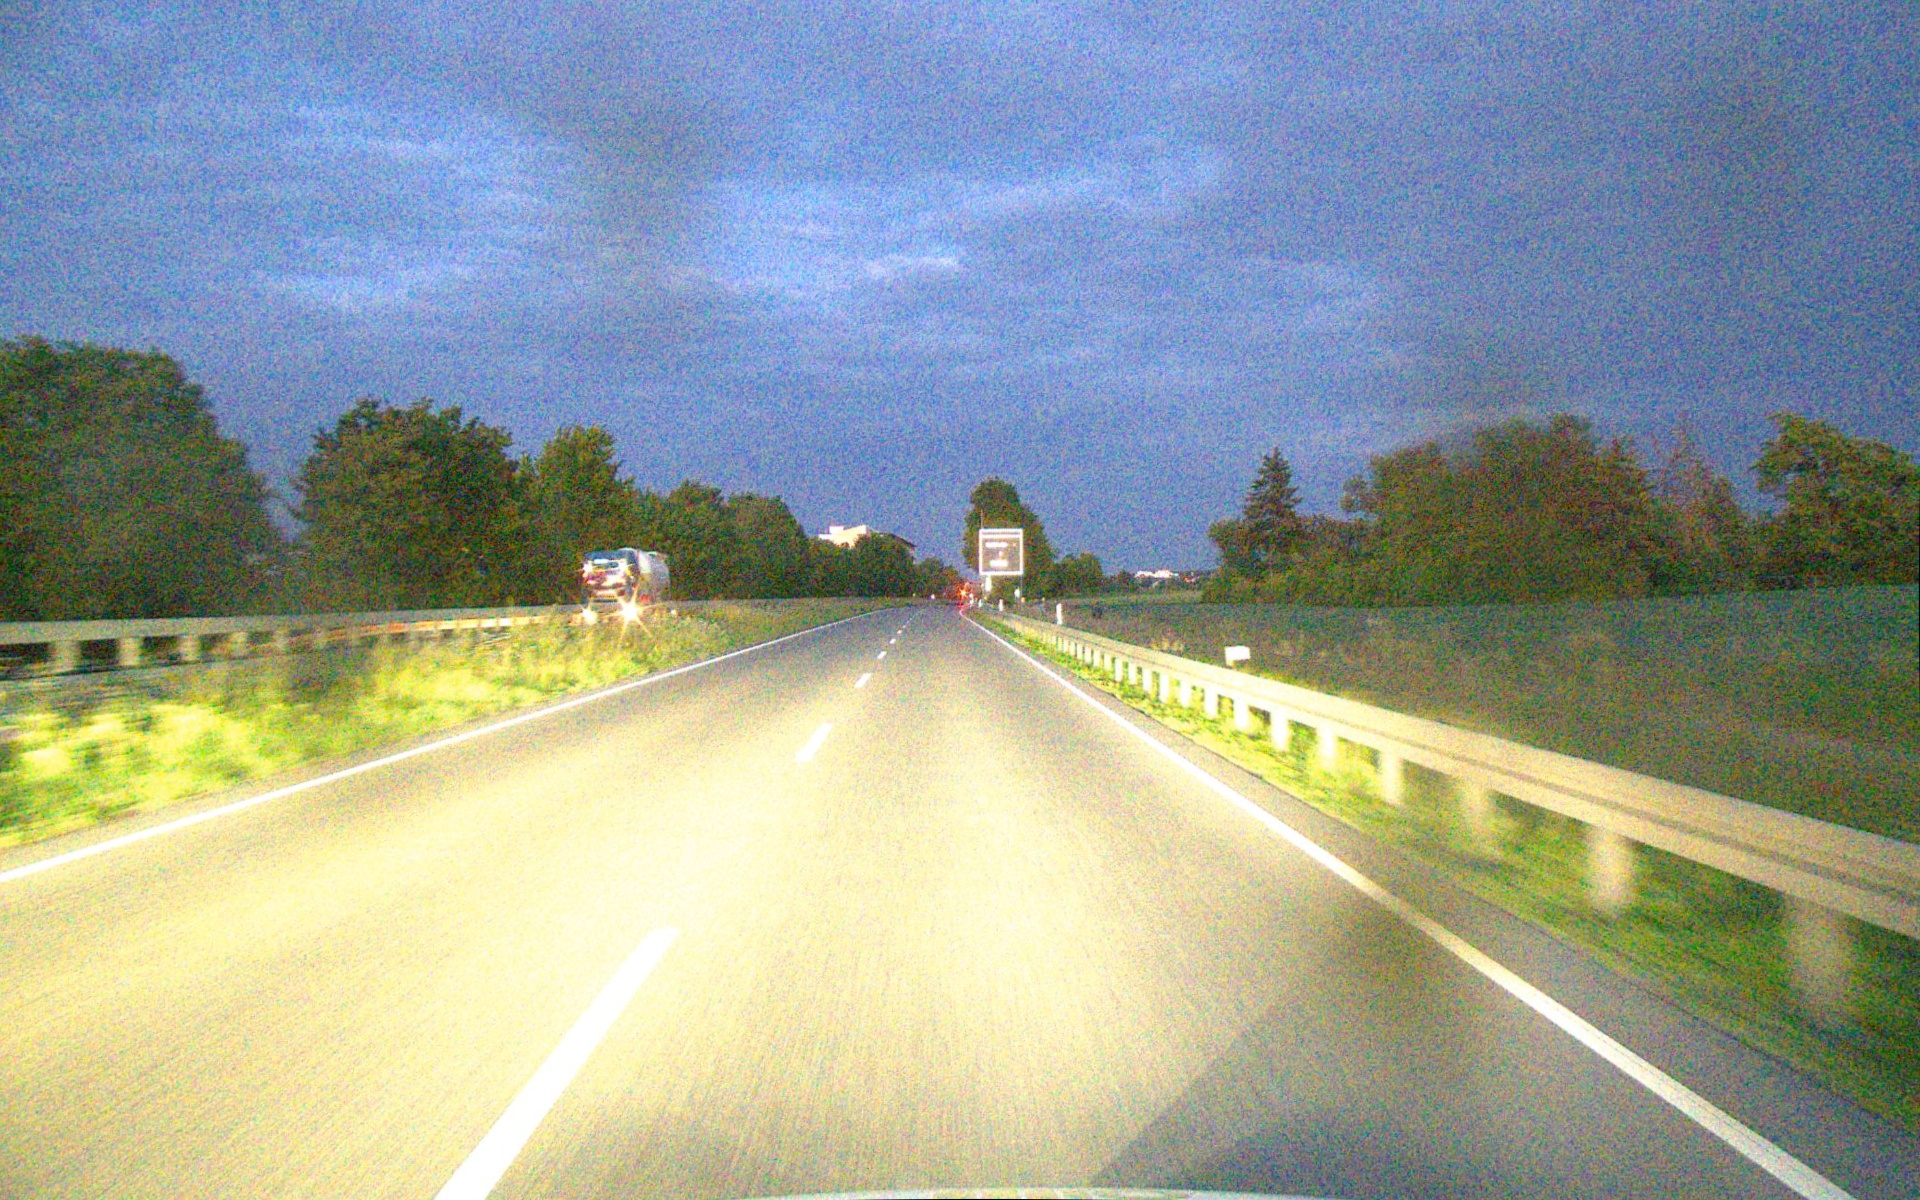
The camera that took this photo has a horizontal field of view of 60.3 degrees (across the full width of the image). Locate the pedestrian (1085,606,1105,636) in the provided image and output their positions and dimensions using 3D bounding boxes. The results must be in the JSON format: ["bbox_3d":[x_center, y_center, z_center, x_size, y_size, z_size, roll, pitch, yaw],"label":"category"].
[{"bbox_3d":[7.850,1.217,95.889,1.040,1.672,1.118,1,0,-1],"label":"pedestrian"}]

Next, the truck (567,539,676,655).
[{"bbox_3d":[-16.942,-0.181,83.800,3.138,5.347,12.606,-1,0,-1],"label":"truck"}]
